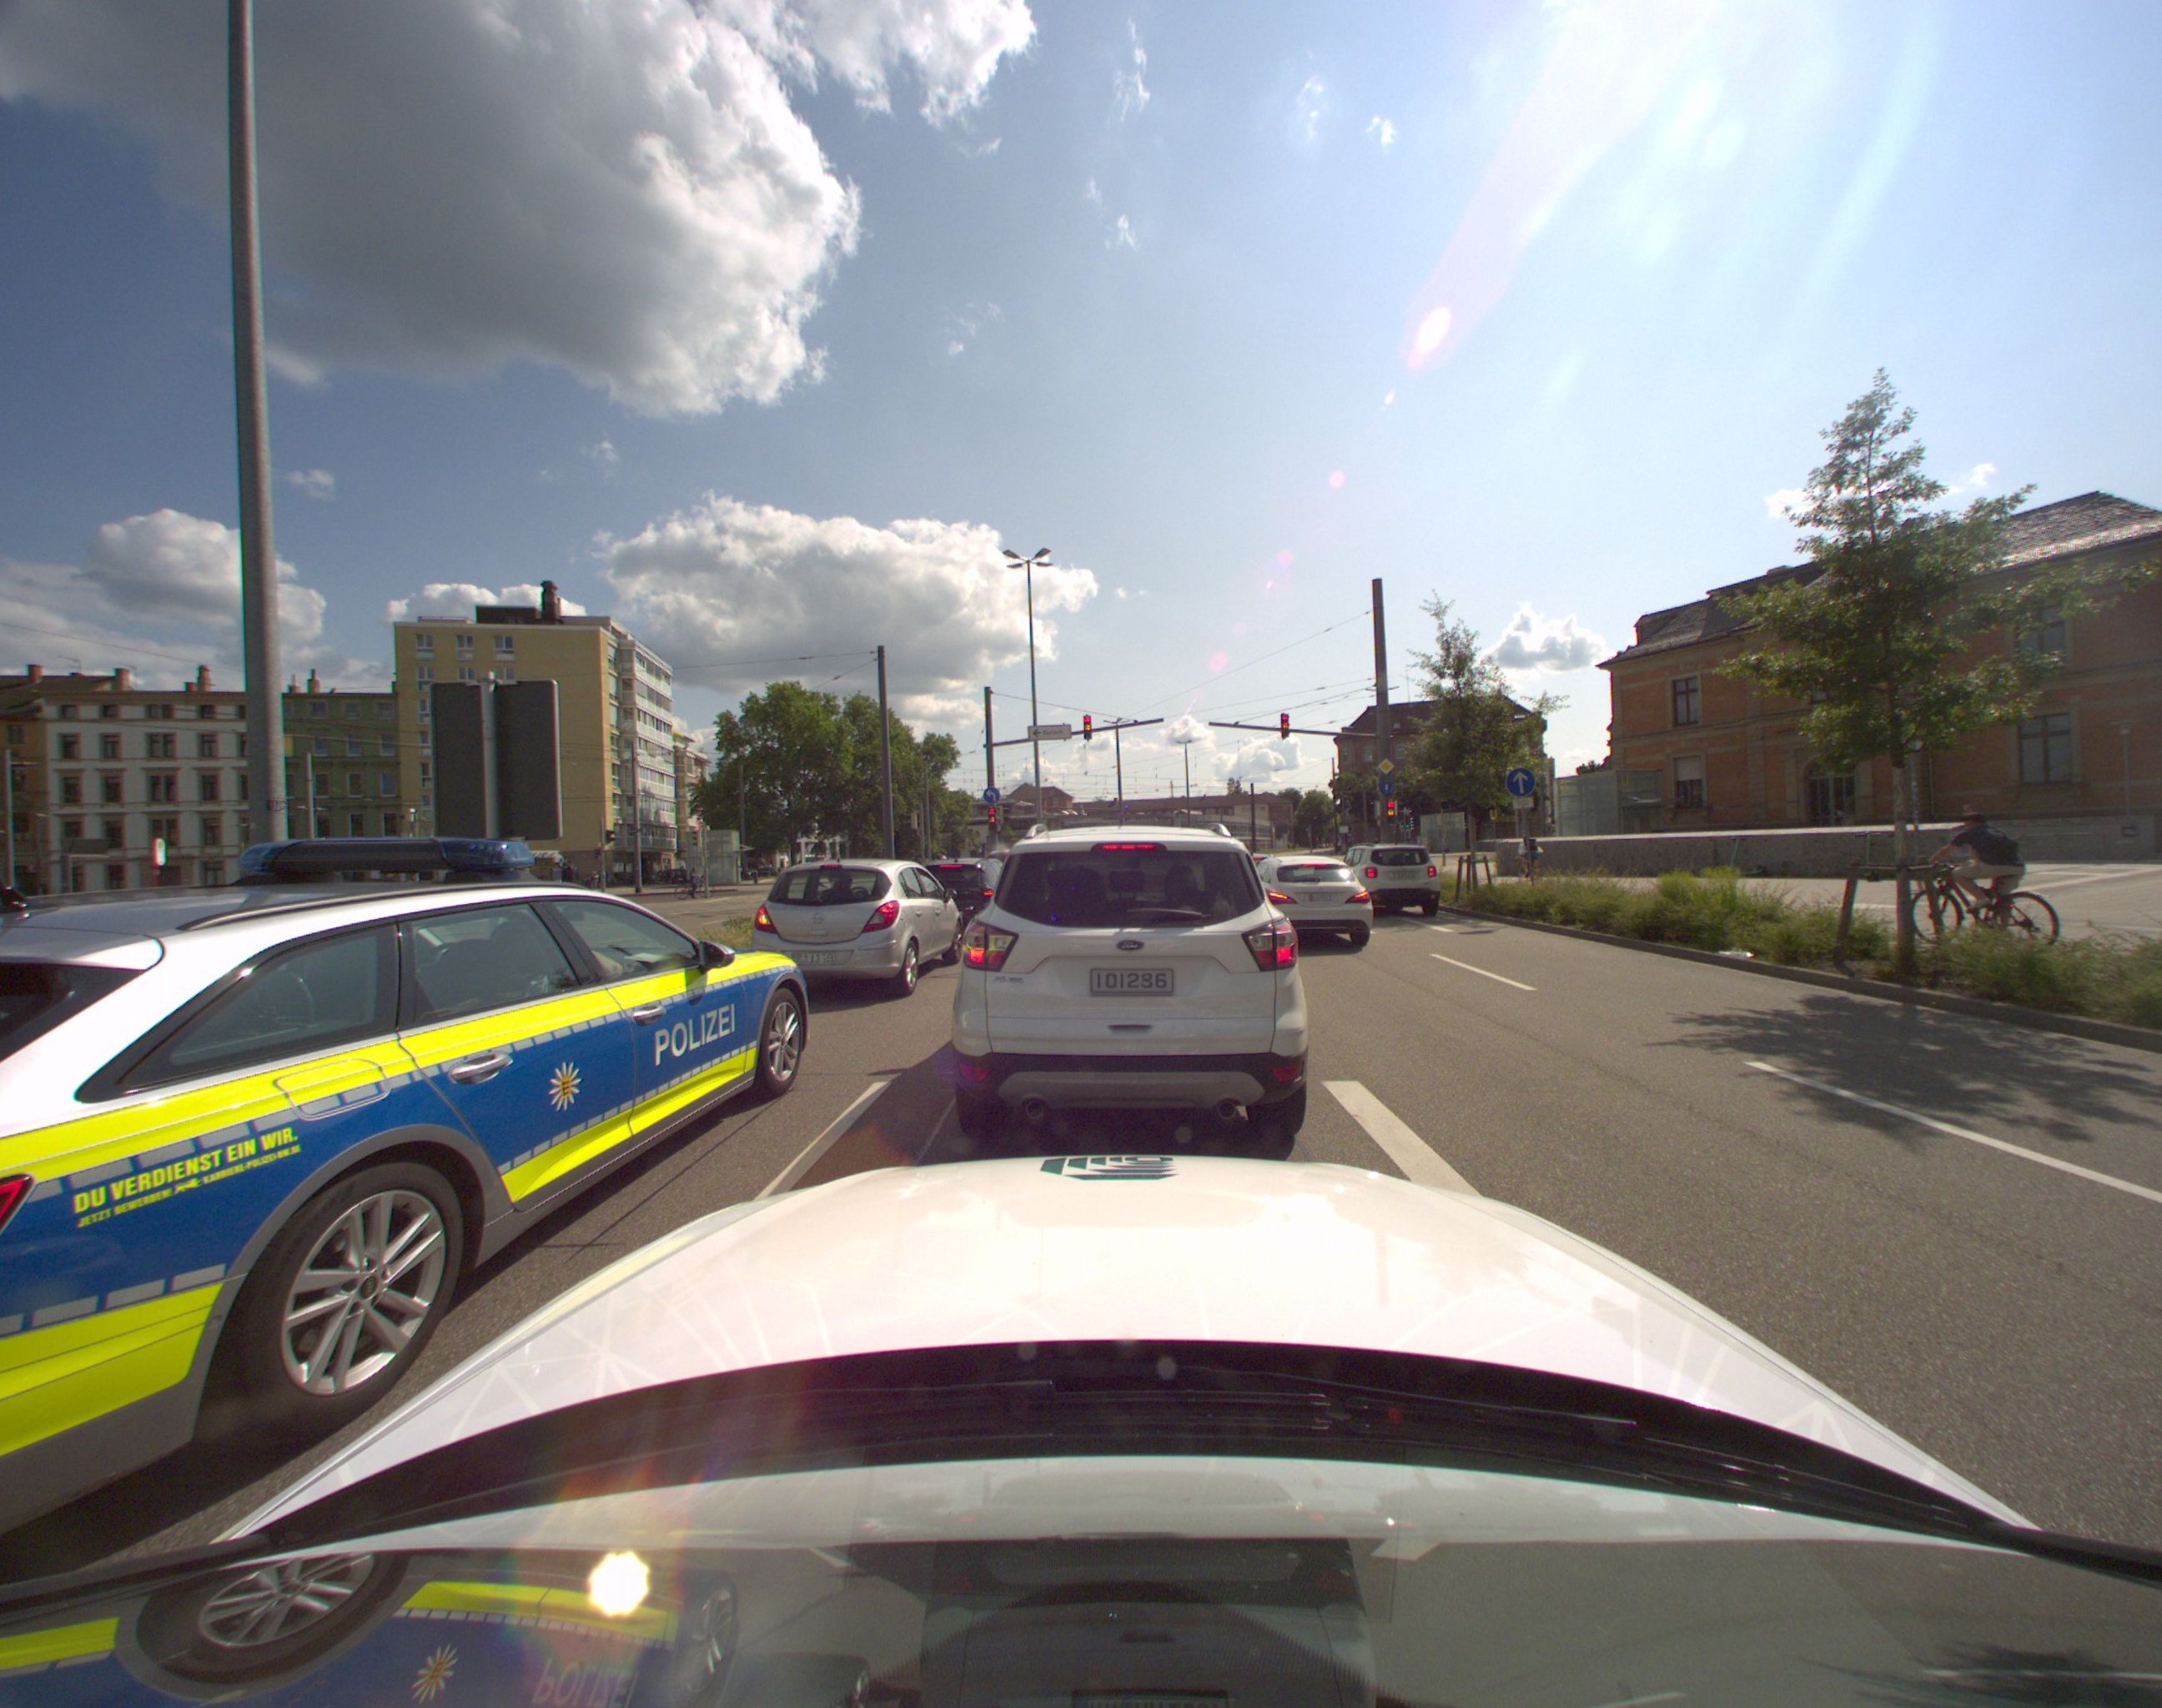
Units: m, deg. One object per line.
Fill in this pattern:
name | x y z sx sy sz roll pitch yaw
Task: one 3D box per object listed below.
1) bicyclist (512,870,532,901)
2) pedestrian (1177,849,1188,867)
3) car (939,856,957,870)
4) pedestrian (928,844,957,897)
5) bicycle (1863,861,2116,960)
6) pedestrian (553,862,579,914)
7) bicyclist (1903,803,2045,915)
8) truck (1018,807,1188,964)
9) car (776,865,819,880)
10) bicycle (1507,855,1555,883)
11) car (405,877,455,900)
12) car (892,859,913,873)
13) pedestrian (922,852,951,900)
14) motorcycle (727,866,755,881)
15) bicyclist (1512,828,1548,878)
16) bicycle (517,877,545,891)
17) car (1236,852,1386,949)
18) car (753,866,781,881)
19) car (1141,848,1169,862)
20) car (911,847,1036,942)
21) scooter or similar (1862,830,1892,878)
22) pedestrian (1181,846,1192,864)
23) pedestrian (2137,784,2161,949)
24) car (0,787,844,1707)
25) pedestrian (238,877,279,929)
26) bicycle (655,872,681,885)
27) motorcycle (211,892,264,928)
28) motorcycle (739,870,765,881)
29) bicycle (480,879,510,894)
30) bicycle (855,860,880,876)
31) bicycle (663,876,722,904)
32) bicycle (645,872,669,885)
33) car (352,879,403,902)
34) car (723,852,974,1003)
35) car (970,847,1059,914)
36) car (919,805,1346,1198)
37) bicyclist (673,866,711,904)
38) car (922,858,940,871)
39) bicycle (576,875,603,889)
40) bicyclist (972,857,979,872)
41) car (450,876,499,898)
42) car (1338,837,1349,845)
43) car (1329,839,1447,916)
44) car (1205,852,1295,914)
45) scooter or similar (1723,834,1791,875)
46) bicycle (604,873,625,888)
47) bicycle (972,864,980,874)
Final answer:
bicyclist | -32.428 1.830 47.273 0.779 1.797 0.706 0 -1 -18
pedestrian | 9.996 0.391 80.059 0.931 1.744 0.582 0 -1 -38
car | -20.291 1.448 124.334 1.989 2.014 4.227 -4 -1 -2
pedestrian | -5.126 0.616 30.123 0.844 1.917 0.693 -3 -1 1
bicycle | 10.615 0.610 9.654 0.843 0.970 1.964 -5 0 5
pedestrian | -19.086 1.248 30.179 0.770 1.903 0.819 0 -1 -30
bicyclist | 10.551 0.054 9.659 0.632 1.220 0.925 -4 0 5
truck | 0.470 0.440 14.267 2.329 2.155 5.857 -1 0 3
car | -30.440 2.005 87.494 3.975 1.327 1.632 -3 -1 -1
bicycle | 13.225 0.423 23.975 0.582 0.775 1.623 -2 0 4
car | -48.051 2.533 60.111 3.849 1.496 1.912 -3 -2 35
car | -27.536 1.871 125.666 1.960 1.937 5.070 -4 -1 1
pedestrian | -5.189 0.785 29.265 0.844 1.648 0.693 -3 -1 1
motorcycle | -30.457 1.781 72.899 2.193 1.238 0.910 -2 1 19
bicyclist | 13.206 -0.030 23.986 0.606 1.451 0.775 -2 0 2
bicycle | -46.805 2.510 69.320 1.808 1.104 0.792 -2 0 -18
car | 3.790 0.712 14.048 1.841 1.419 3.684 -1 0 5
car | -32.482 2.038 84.399 1.905 1.413 3.986 -3 -1 -10
car | 8.539 0.068 93.677 1.882 1.461 3.991 -3 0 24
car | -1.970 0.691 16.211 1.756 1.568 4.528 -2 0 1
scooter or similar | 19.694 -0.002 20.145 1.326 1.104 0.460 -4 0 -44
pedestrian | 10.314 0.076 79.345 0.931 1.744 0.583 0 -1 -37
pedestrian | 11.653 0.115 8.239 0.735 1.754 0.894 -5 -1 22
car | -2.695 0.702 3.426 1.873 1.568 4.617 -2 0 2
pedestrian | -29.303 1.720 29.045 0.770 1.797 1.018 0 -1 -30
bicycle | -38.042 2.239 75.008 1.948 1.147 0.792 -2 0 -17
motorcycle | -30.651 2.037 29.597 1.436 1.236 0.484 -3 -1 3
motorcycle | -31.409 2.011 77.767 0.801 0.917 2.057 -2 1 39
bicycle | -49.379 2.737 68.643 1.808 1.104 0.792 -2 0 -18
bicycle | -19.794 1.320 75.576 2.171 1.414 0.808 -1 0 -14
bicycle | -18.600 1.729 39.039 2.286 1.188 0.994 -3 -1 -1
bicycle | -38.355 2.217 73.711 1.808 1.147 0.792 -2 0 -17
car | -51.472 2.669 59.556 3.849 1.496 1.912 -3 -2 35
car | -2.624 0.749 10.254 1.841 1.474 4.002 -2 0 2
car | -1.694 0.656 22.296 2.033 1.578 4.538 -1 0 0
car | 0.393 0.644 5.497 1.818 1.664 3.961 -1 0 5
bicyclist | -18.641 1.470 39.033 1.293 1.731 0.994 -3 -1 -1
car | -22.925 1.638 124.651 1.963 1.937 4.227 -4 -1 -2
bicycle | -42.394 2.395 70.223 1.808 1.104 0.792 -2 0 -18
bicyclist | -12.681 1.259 98.011 0.639 1.738 0.658 -1 0 -17
car | -45.964 2.480 61.675 3.849 1.496 1.912 -3 -2 36
car | 54.125 -2.660 168.131 1.820 1.652 4.021 -2 -1 22
car | 7.321 0.524 19.811 1.826 1.652 4.009 -1 -1 8
car | 4.220 0.686 20.845 1.841 1.419 3.684 -1 0 5
scooter or similar | 19.396 0.018 23.400 0.466 1.118 1.438 -3 0 -18
bicycle | -41.316 2.305 72.092 0.792 1.258 1.808 -2 0 -2
bicycle | -12.618 1.763 97.843 0.639 1.125 1.775 -2 0 -16
